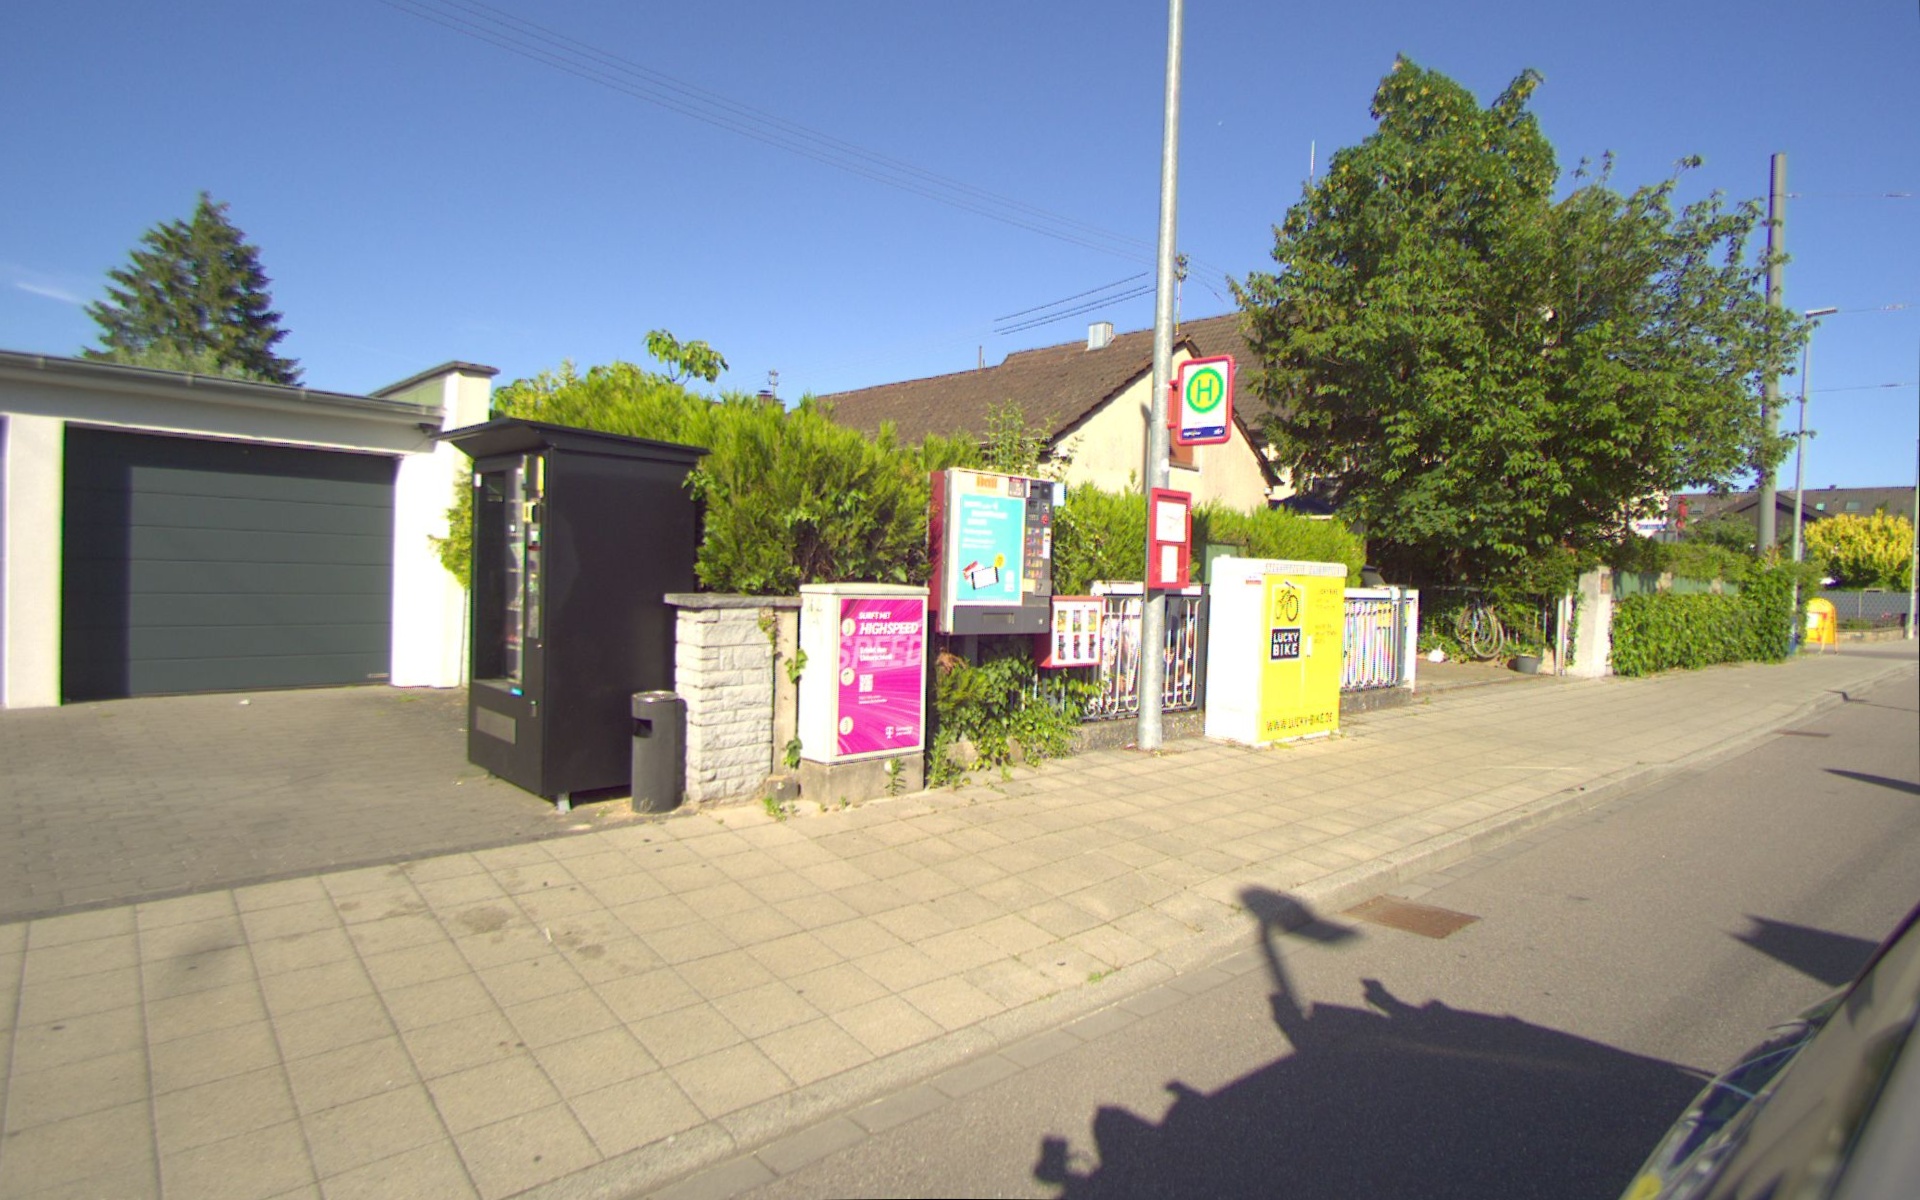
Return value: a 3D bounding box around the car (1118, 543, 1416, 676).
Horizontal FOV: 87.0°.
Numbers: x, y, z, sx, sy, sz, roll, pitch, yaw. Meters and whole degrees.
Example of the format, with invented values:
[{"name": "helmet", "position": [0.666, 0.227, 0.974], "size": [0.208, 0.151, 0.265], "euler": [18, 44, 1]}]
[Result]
[{"name": "car", "position": [4.408, 0.043, 14.791], "size": [3.757, 1.588, 1.727], "euler": [5, 3, 40]}]
